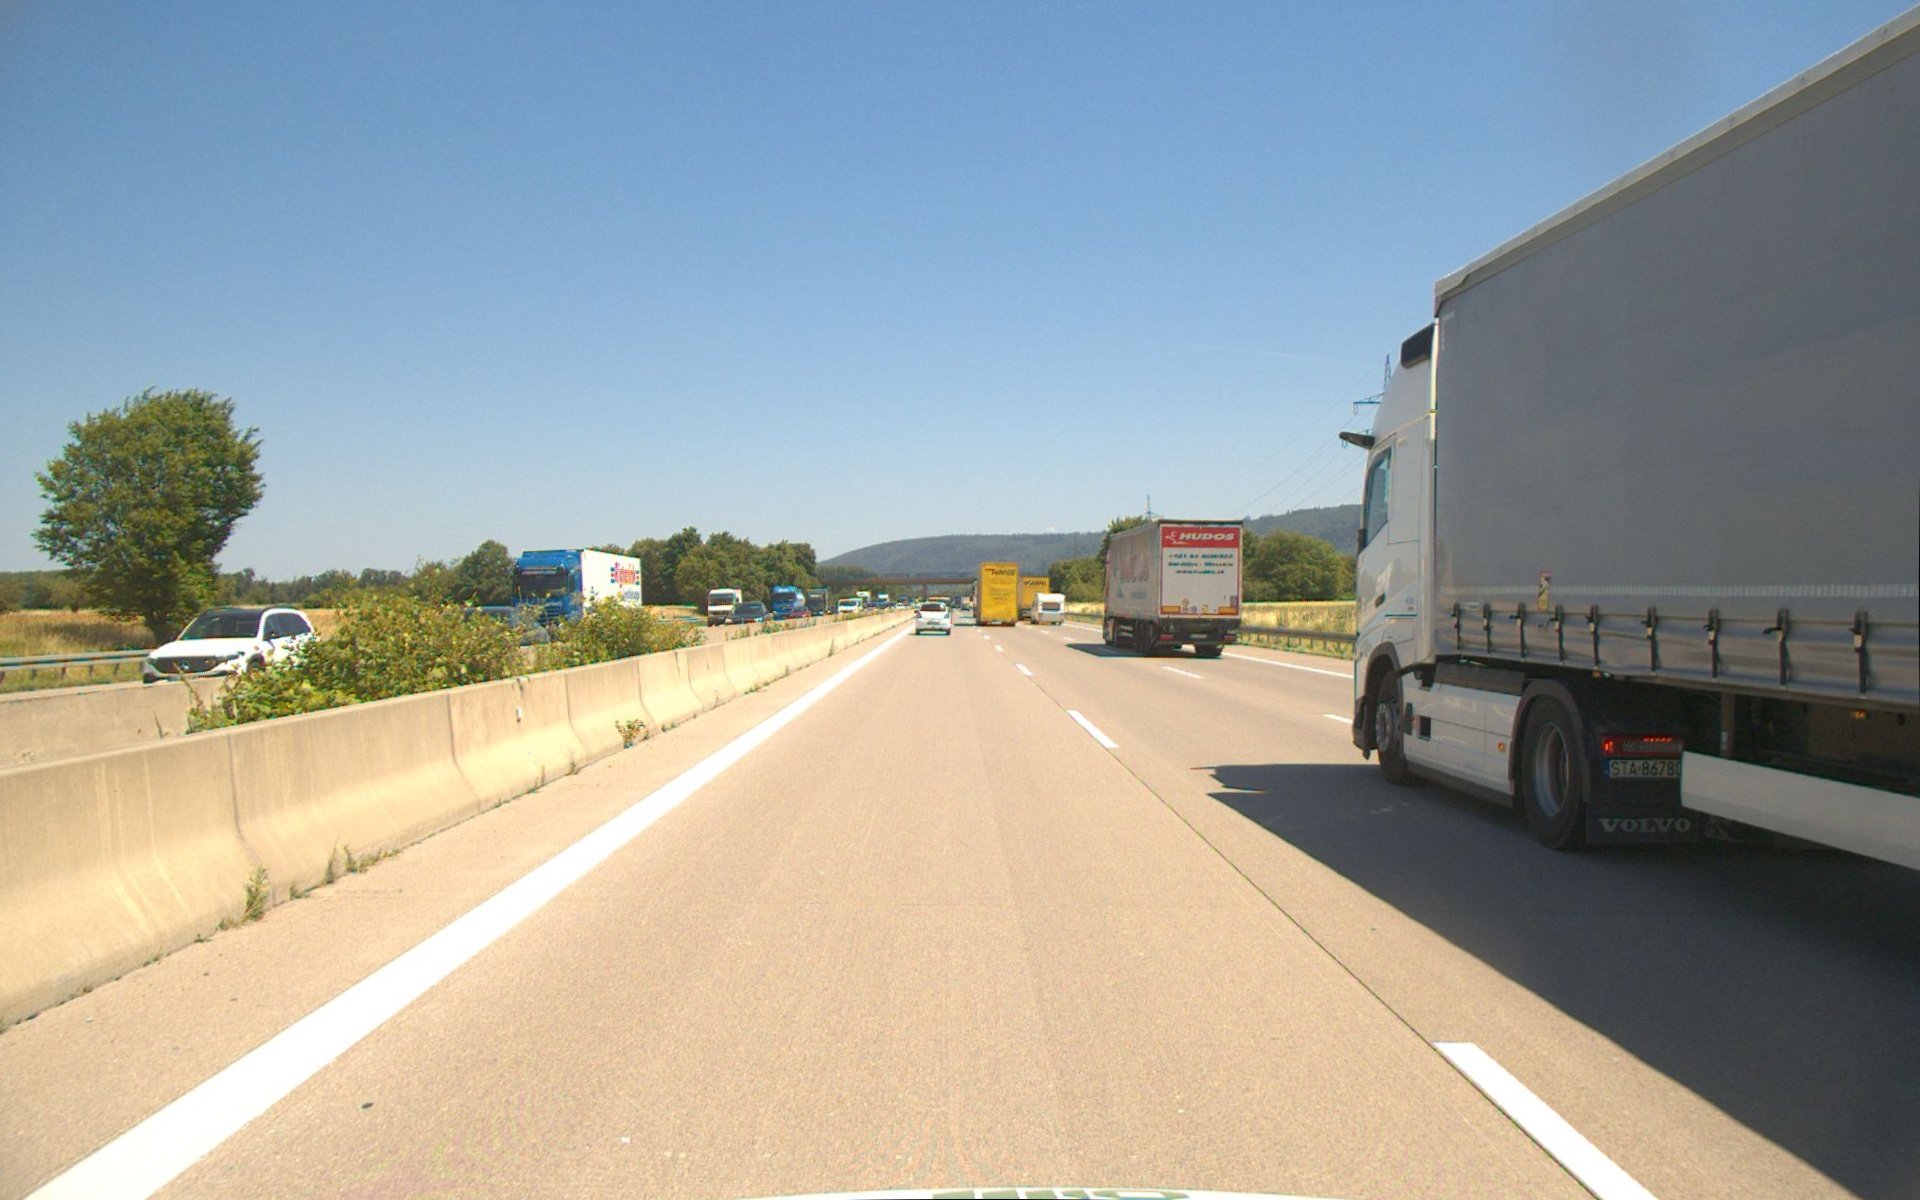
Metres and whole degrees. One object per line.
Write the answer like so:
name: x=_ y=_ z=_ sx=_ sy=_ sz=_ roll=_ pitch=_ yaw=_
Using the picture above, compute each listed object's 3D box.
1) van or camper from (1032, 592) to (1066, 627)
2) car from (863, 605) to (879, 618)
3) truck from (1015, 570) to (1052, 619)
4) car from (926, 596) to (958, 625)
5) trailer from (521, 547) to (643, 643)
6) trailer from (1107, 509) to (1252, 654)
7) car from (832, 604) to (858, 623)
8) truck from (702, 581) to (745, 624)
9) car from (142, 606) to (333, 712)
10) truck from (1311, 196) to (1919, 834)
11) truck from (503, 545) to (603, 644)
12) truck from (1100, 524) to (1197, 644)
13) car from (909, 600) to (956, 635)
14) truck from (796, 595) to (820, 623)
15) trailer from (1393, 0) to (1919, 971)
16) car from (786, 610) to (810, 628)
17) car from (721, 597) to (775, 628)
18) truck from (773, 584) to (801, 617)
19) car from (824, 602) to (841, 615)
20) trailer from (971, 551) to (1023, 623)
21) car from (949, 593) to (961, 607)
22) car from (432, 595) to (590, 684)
van or camper: x=6.701 y=0.707 z=125.319 sx=2.179 sy=2.575 sz=5.430 roll=1 pitch=0 yaw=-1
car: x=-10.349 y=1.318 z=192.862 sx=1.743 sy=1.372 sz=4.451 roll=2 pitch=0 yaw=-2
truck: x=6.819 y=-0.531 z=154.745 sx=2.938 sy=4.390 sz=9.683 roll=1 pitch=0 yaw=0
car: x=-1.273 y=0.759 z=120.426 sx=2.208 sy=2.049 sz=4.297 roll=1 pitch=0 yaw=0
trailer: x=-17.185 y=-0.231 z=76.234 sx=2.849 sy=3.977 sz=12.508 roll=1 pitch=0 yaw=-1
trailer: x=7.005 y=-0.564 z=55.069 sx=2.815 sy=4.172 sz=13.510 roll=1 pitch=0 yaw=-1
car: x=-10.920 y=1.284 z=157.741 sx=2.095 sy=1.708 sz=5.644 roll=1 pitch=0 yaw=-1
truck: x=-18.063 y=0.193 z=126.680 sx=2.275 sy=3.138 sz=6.977 roll=1 pitch=0 yaw=-1
car: x=-13.288 y=1.026 z=30.731 sx=1.739 sy=1.753 sz=4.627 roll=1 pitch=0 yaw=-4
truck: x=5.072 y=-0.551 z=13.626 sx=2.924 sy=4.133 sz=5.475 roll=1 pitch=0 yaw=-3
truck: x=-17.129 y=-0.224 z=69.985 sx=2.838 sy=3.931 sz=5.684 roll=1 pitch=0 yaw=-1
truck: x=6.931 y=-0.573 z=61.611 sx=2.846 sy=4.172 sz=6.272 roll=1 pitch=0 yaw=0
car: x=-1.276 y=0.794 z=78.719 sx=2.064 sy=1.563 sz=4.122 roll=1 pitch=0 yaw=1
truck: x=-20.119 y=1.161 z=219.546 sx=2.503 sy=3.574 sz=7.883 roll=-1 pitch=0 yaw=-1
trailer: x=5.325 y=-0.563 z=6.573 sx=2.957 sy=4.132 sz=14.201 roll=1 pitch=0 yaw=-2
car: x=-14.039 y=1.621 z=143.368 sx=1.654 sy=1.485 sz=4.486 roll=1 pitch=0 yaw=-1
car: x=-9.762 y=0.569 z=76.507 sx=1.860 sy=1.349 sz=5.068 roll=1 pitch=0 yaw=-1
truck: x=-18.271 y=0.048 z=174.748 sx=2.433 sy=3.367 sz=5.262 roll=1 pitch=0 yaw=-1
car: x=-15.023 y=1.000 z=195.658 sx=1.684 sy=1.473 sz=4.707 roll=1 pitch=0 yaw=-1
trailer: x=2.488 y=-0.851 z=115.553 sx=3.150 sy=4.643 sz=13.455 roll=1 pitch=0 yaw=0
car: x=-0.704 y=-0.032 z=236.196 sx=1.747 sy=1.914 sz=4.000 roll=1 pitch=0 yaw=0
car: x=-9.077 y=0.744 z=33.904 sx=1.885 sy=1.636 sz=5.073 roll=1 pitch=0 yaw=-1
